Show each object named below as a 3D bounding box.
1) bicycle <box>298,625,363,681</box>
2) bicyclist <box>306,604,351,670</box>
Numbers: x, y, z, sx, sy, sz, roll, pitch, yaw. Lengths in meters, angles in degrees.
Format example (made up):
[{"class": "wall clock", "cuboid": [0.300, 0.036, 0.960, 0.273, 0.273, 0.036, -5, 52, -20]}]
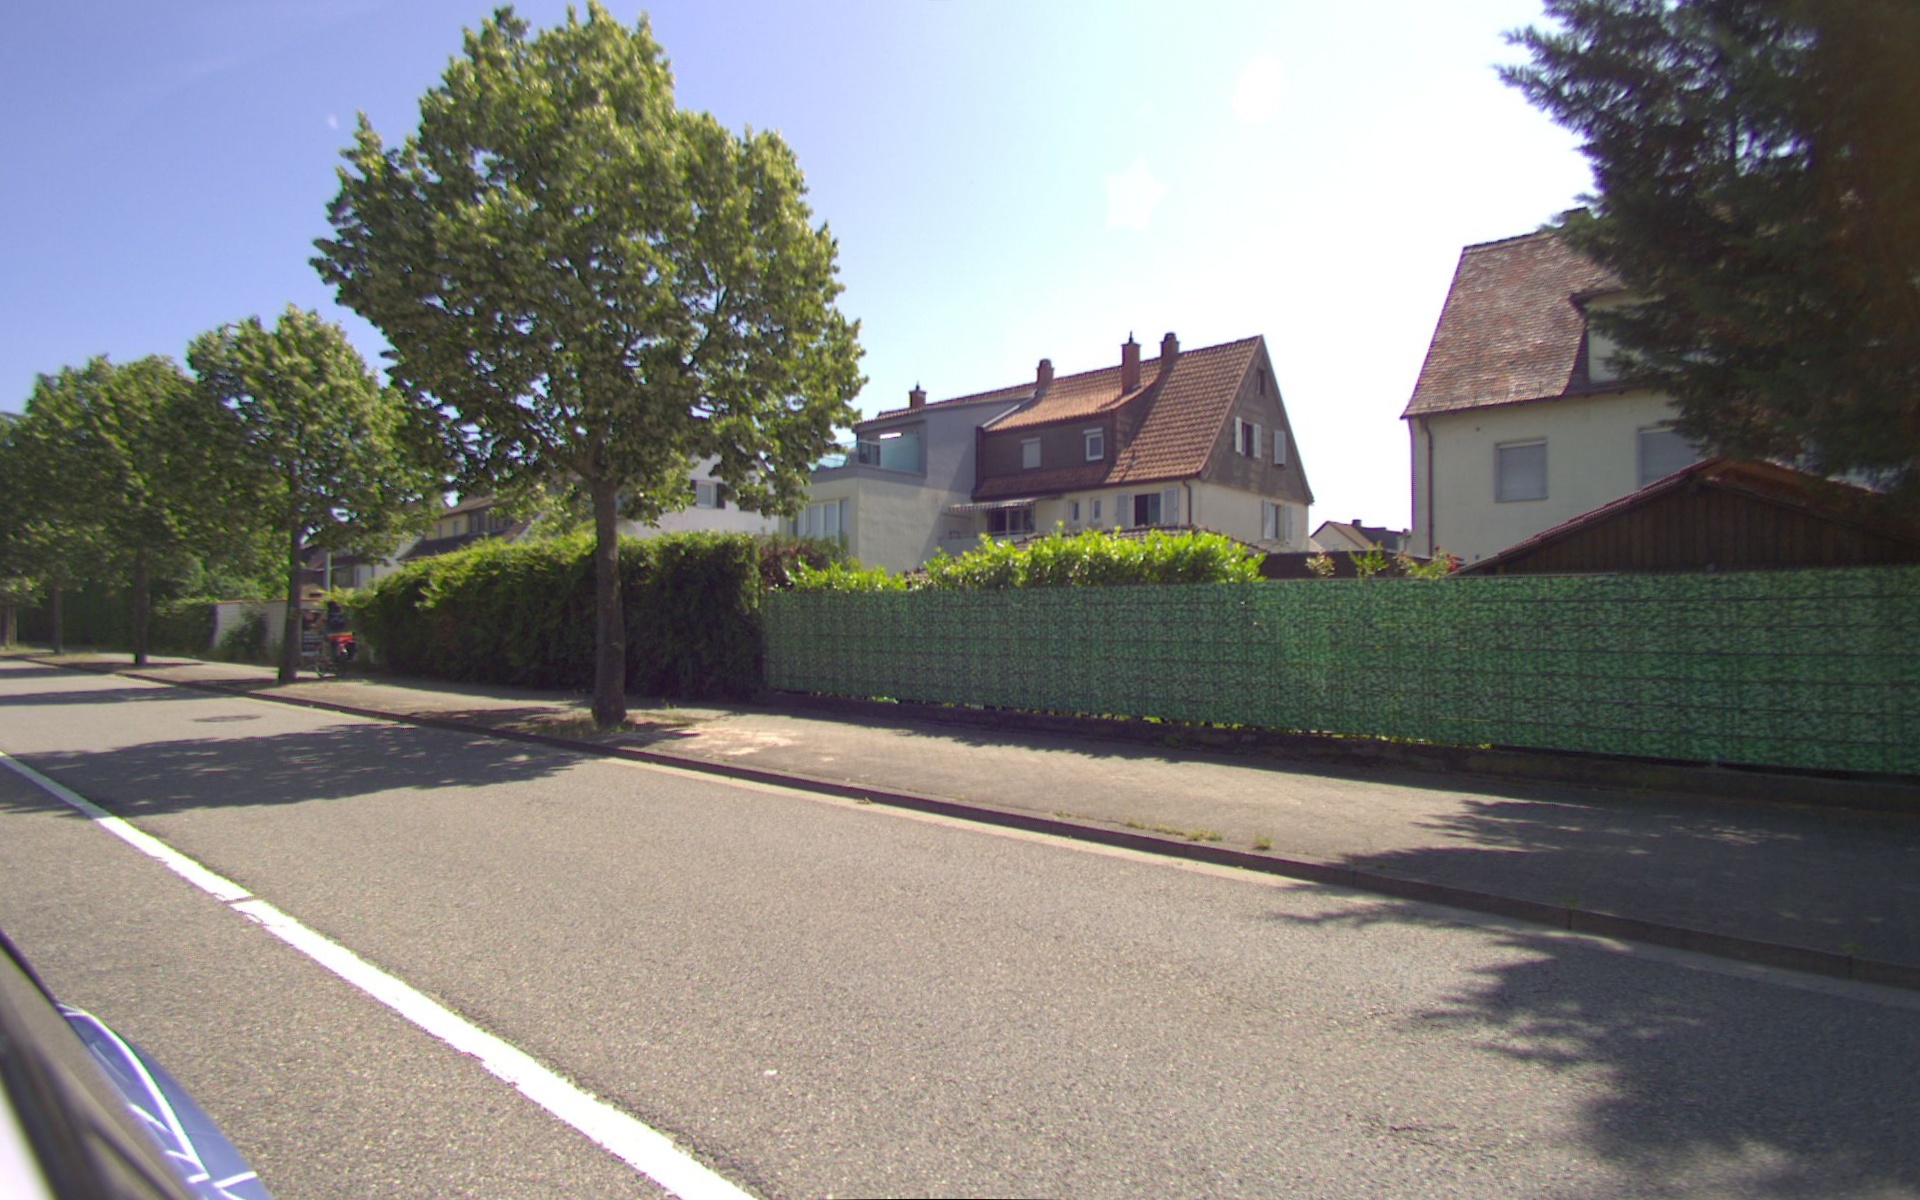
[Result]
[{"class": "bicycle", "cuboid": [-13.834, 1.151, 22.228, 1.814, 1.189, 0.626, -2, -2, 39]}, {"class": "bicyclist", "cuboid": [-13.917, 0.805, 22.306, 0.676, 1.419, 0.622, -2, -2, 39]}]
